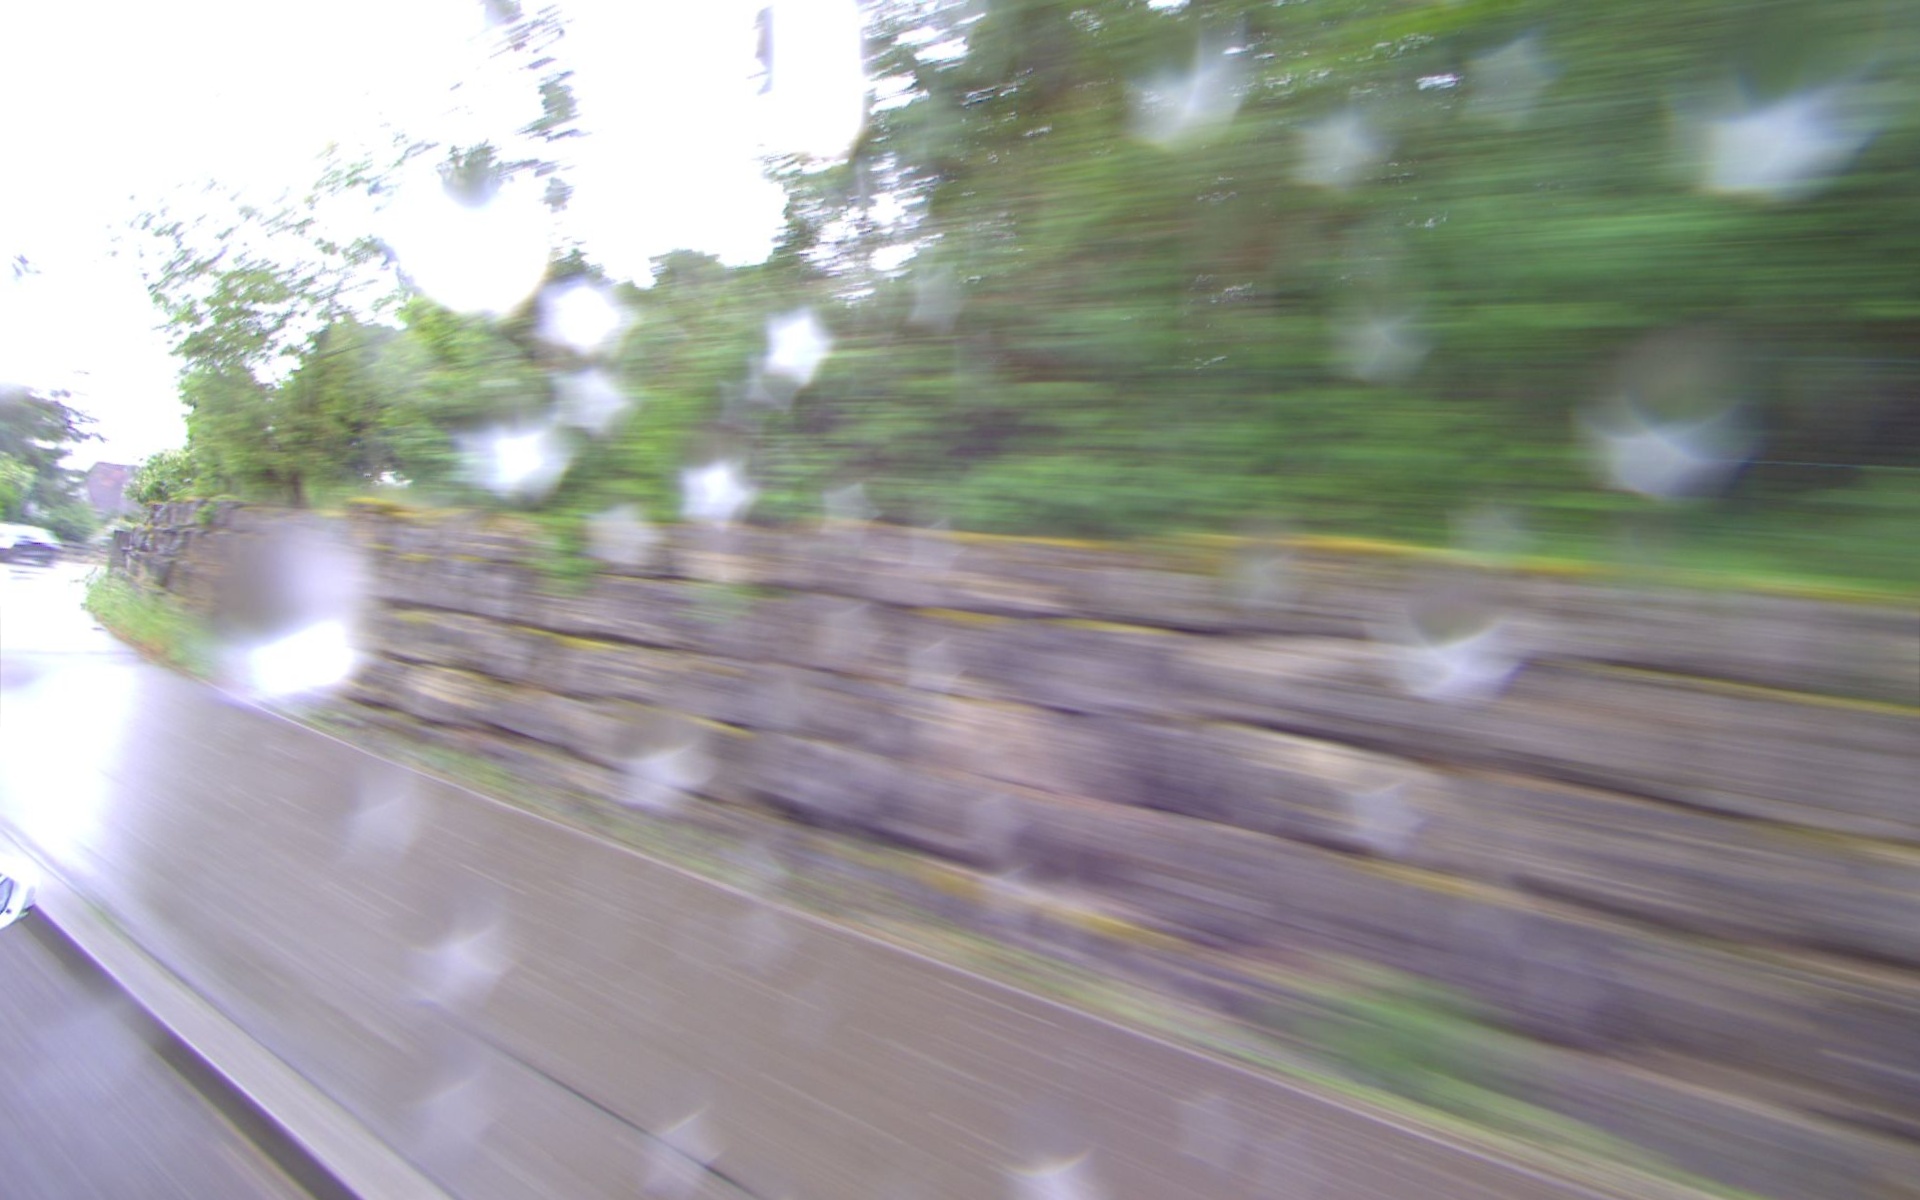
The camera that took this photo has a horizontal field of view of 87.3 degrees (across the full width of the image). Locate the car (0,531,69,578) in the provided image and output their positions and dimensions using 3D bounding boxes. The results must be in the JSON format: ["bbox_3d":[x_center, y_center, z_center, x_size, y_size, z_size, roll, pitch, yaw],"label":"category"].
[{"bbox_3d":[-35.003,-1.760,36.979,1.759,1.434,4.151,10,-4,-20],"label":"car"}]

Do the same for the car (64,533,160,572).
[{"bbox_3d":[-52.070,-2.903,61.832,3.928,1.637,2.002,9,-4,-2],"label":"car"}]
